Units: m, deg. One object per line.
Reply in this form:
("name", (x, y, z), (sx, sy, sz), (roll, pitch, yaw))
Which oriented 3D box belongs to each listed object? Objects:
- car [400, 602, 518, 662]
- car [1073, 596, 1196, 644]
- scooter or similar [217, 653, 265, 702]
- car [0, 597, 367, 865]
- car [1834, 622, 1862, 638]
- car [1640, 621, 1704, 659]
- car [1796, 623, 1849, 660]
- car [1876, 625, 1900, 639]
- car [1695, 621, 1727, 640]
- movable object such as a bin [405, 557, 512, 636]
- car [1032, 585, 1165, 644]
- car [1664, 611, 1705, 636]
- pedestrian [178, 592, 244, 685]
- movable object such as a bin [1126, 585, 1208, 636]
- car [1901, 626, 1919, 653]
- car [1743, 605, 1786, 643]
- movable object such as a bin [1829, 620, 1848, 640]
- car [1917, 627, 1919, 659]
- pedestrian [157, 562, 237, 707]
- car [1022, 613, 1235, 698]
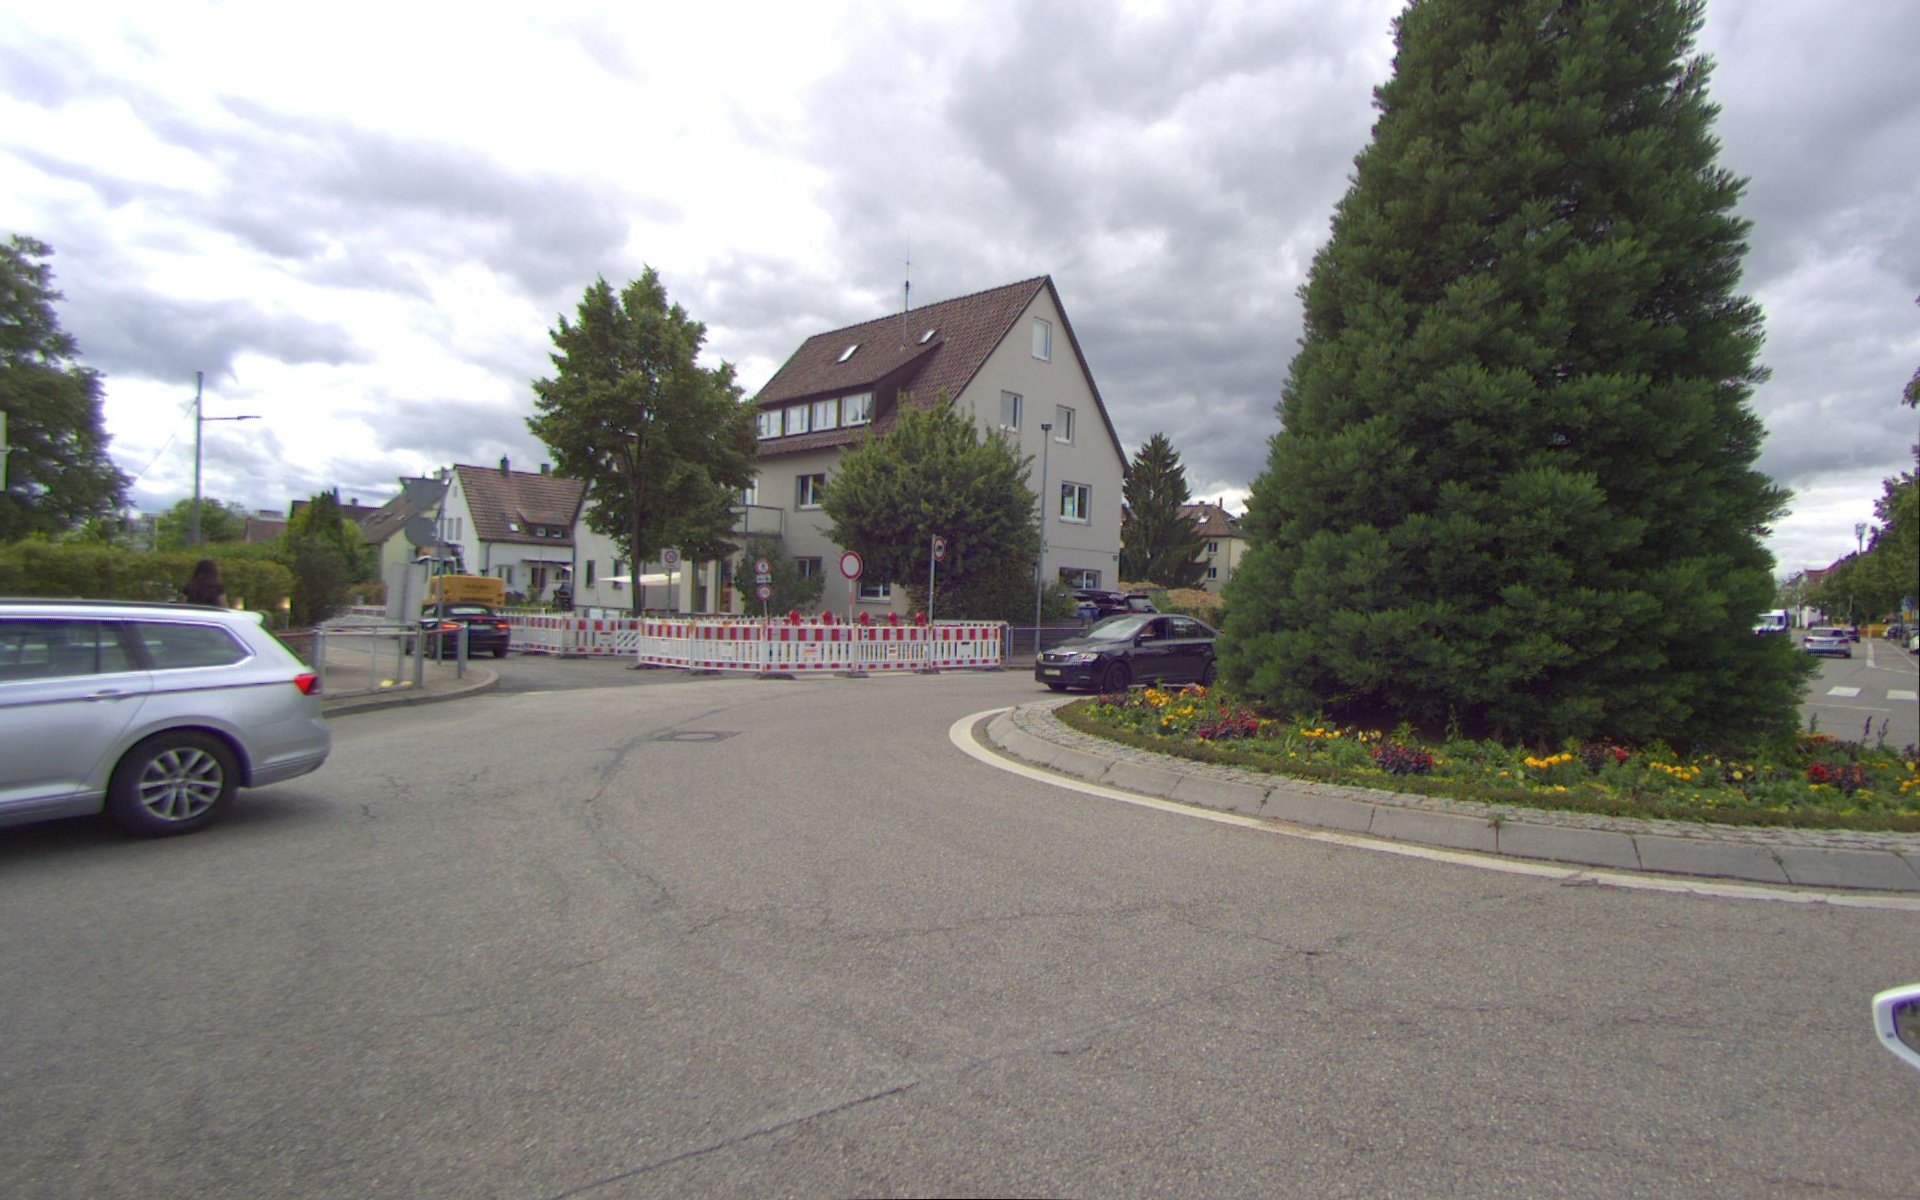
("car", (-12.905, 0.779, 25.774), (1.689, 1.350, 3.566), (1, 0, -45))
("car", (6.011, 0.677, 34.922), (3.875, 1.421, 1.737), (3, 1, 43))
("scooter or similar", (-8.989, 0.965, 12.565), (0.425, 0.569, 0.359), (0, 2, -27))
("car", (-6.227, 0.714, 5.675), (1.776, 1.474, 4.681), (1, 0, 31))
("car", (80.352, 2.705, 90.939), (1.788, 1.393, 3.676), (1, 0, 40))
("car", (28.576, 1.578, 40.283), (1.556, 1.380, 3.720), (2, 0, 44))
("car", (43.012, 2.043, 50.150), (1.883, 1.708, 3.723), (1, 0, 39))
("car", (101.556, 3.481, 109.942), (1.686, 1.474, 4.594), (1, 0, 40))
("car", (62.821, 2.540, 84.028), (1.712, 1.488, 4.277), (1, -1, 43))
("movable object such as a bin", (-19.892, -0.126, 39.805), (3.648, 2.954, 2.664), (2, 0, 43))
("car", (4.470, 0.448, 32.718), (3.875, 1.684, 1.845), (3, 0, 43))
("car", (48.504, 1.552, 67.252), (1.667, 1.561, 4.107), (2, 0, 44))
("pedestrian", (-9.276, 0.465, 12.454), (0.582, 1.115, 0.449), (0, 2, -27))
("movable object such as a bin", (9.637, 0.494, 46.596), (1.873, 2.217, 4.342), (2, 0, 40))
("car", (54.323, 2.220, 56.648), (1.633, 1.435, 4.157), (0, -1, 40))
("car", (60.475, 1.758, 75.474), (1.997, 2.710, 5.771), (2, 0, 44))
("movable object such as a bin", (119.643, 4.078, 136.779), (1.747, 2.609, 3.723), (2, 0, 39))
("car", (43.625, 1.931, 44.403), (1.633, 1.435, 4.157), (0, -1, 40))
("pedestrian", (-9.004, 0.395, 11.859), (0.444, 1.656, 0.611), (2, 2, 22))
("car", (3.149, 0.968, 18.421), (3.941, 1.393, 1.525), (1, -1, -35))
